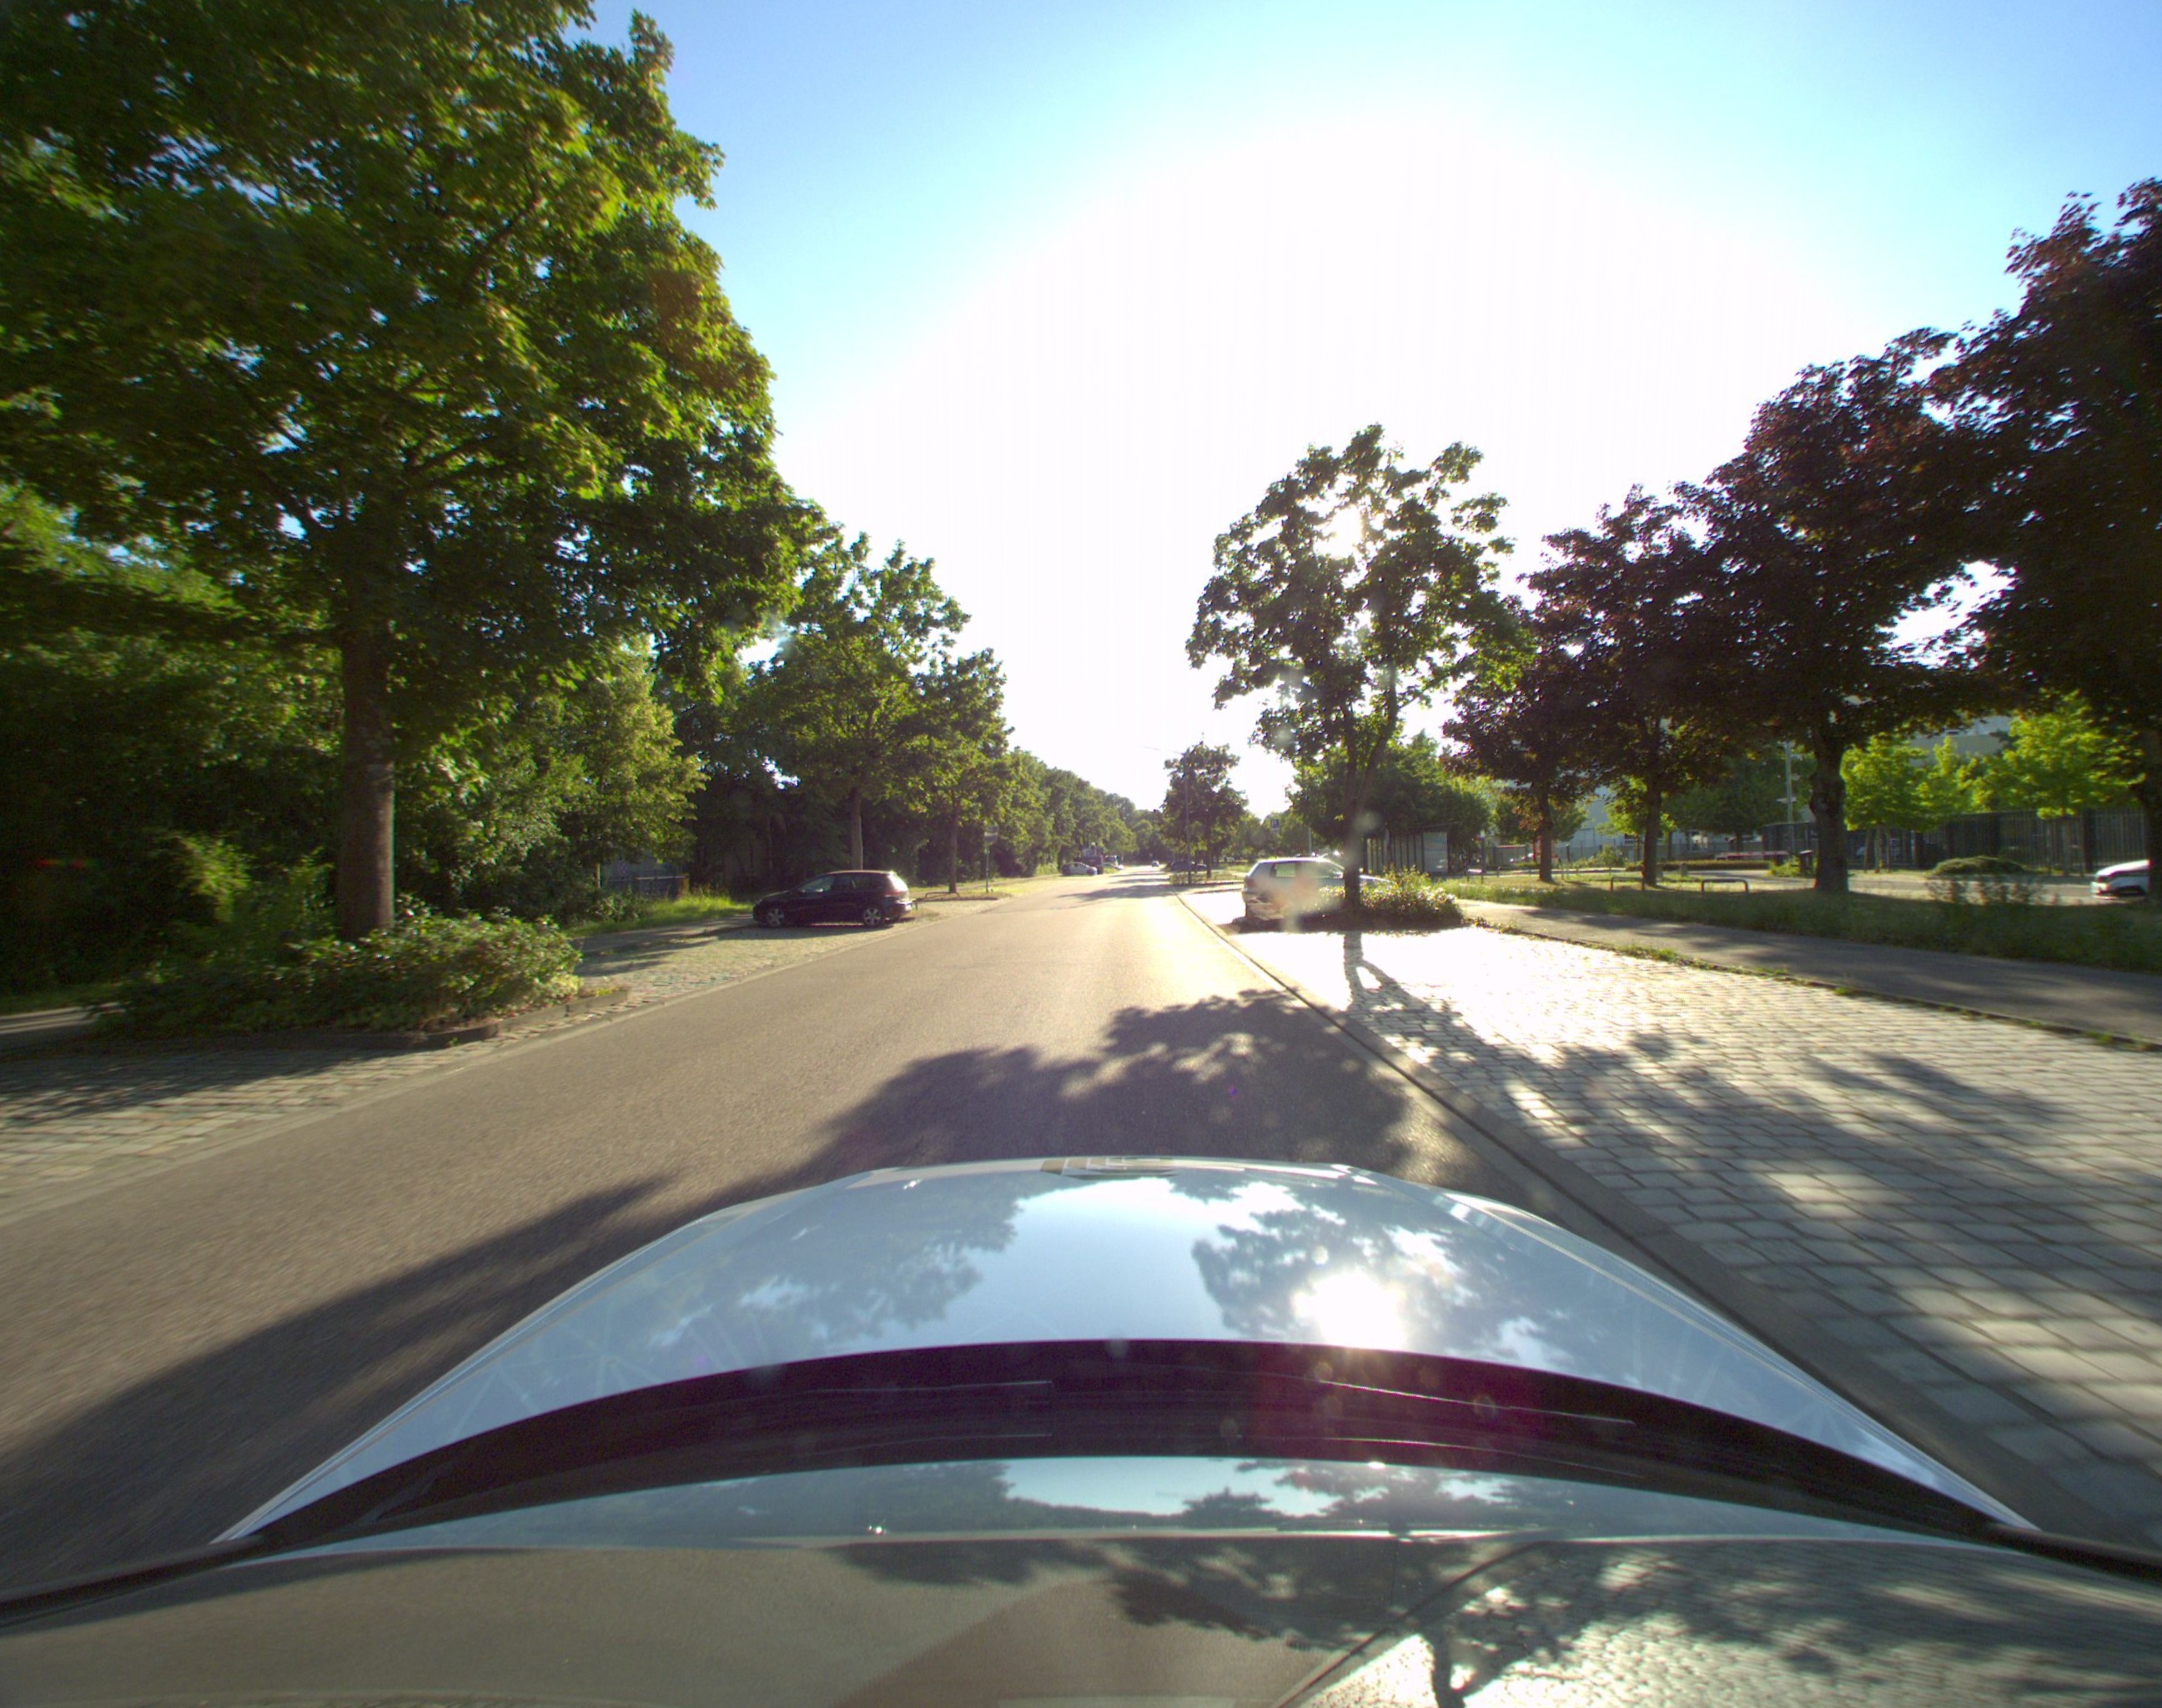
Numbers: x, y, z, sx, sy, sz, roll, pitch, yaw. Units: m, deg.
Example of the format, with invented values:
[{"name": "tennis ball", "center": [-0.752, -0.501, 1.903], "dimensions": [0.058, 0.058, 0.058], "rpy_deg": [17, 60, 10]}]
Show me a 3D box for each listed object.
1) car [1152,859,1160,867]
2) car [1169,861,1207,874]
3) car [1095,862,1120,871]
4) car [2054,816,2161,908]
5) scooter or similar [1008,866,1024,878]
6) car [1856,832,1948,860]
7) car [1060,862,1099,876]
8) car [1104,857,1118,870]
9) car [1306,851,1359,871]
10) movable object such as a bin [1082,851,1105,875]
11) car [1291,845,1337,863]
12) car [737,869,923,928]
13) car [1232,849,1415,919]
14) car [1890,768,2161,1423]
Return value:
[{"name": "car", "center": [19.271, 2.334, 209.864], "dimensions": [1.985, 1.904, 4.003], "rpy_deg": [-2, -1, 3]}, {"name": "car", "center": [13.580, 1.672, 103.564], "dimensions": [4.817, 1.479, 2.003], "rpy_deg": [-2, -1, 6]}, {"name": "car", "center": [4.755, 2.223, 148.055], "dimensions": [4.346, 1.479, 1.999], "rpy_deg": [-2, -1, -2]}, {"name": "car", "center": [20.445, 0.071, 13.719], "dimensions": [4.890, 1.574, 2.012], "rpy_deg": [-3, -1, 42]}, {"name": "scooter or similar", "center": [-6.484, 1.825, 80.926], "dimensions": [0.570, 1.145, 1.594], "rpy_deg": [-3, -1, 45]}, {"name": "car", "center": [47.588, -0.431, 47.315], "dimensions": [1.610, 1.530, 3.831], "rpy_deg": [-2, 0, 4]}, {"name": "car", "center": [-0.153, 1.741, 95.291], "dimensions": [4.336, 1.547, 2.003], "rpy_deg": [-2, -1, 6]}, {"name": "car", "center": [5.785, 1.826, 157.631], "dimensions": [2.510, 2.386, 4.370], "rpy_deg": [-2, -1, -2]}, {"name": "car", "center": [23.932, 0.690, 77.703], "dimensions": [4.410, 1.706, 2.061], "rpy_deg": [-2, -1, 4]}, {"name": "movable object such as a bin", "center": [1.650, 1.194, 107.912], "dimensions": [2.828, 3.069, 4.927], "rpy_deg": [-2, -1, 1]}, {"name": "car", "center": [24.346, 0.021, 85.289], "dimensions": [4.335, 1.706, 2.004], "rpy_deg": [-2, 0, 6]}, {"name": "car", "center": [-6.647, 1.166, 21.933], "dimensions": [4.341, 1.479, 2.001], "rpy_deg": [0, -1, 2]}, {"name": "car", "center": [6.280, 0.781, 21.526], "dimensions": [4.329, 1.479, 2.006], "rpy_deg": [-4, -1, 12]}, {"name": "car", "center": [5.114, 0.490, 1.377], "dimensions": [5.152, 1.574, 2.160], "rpy_deg": [-2, -1, 3]}]
